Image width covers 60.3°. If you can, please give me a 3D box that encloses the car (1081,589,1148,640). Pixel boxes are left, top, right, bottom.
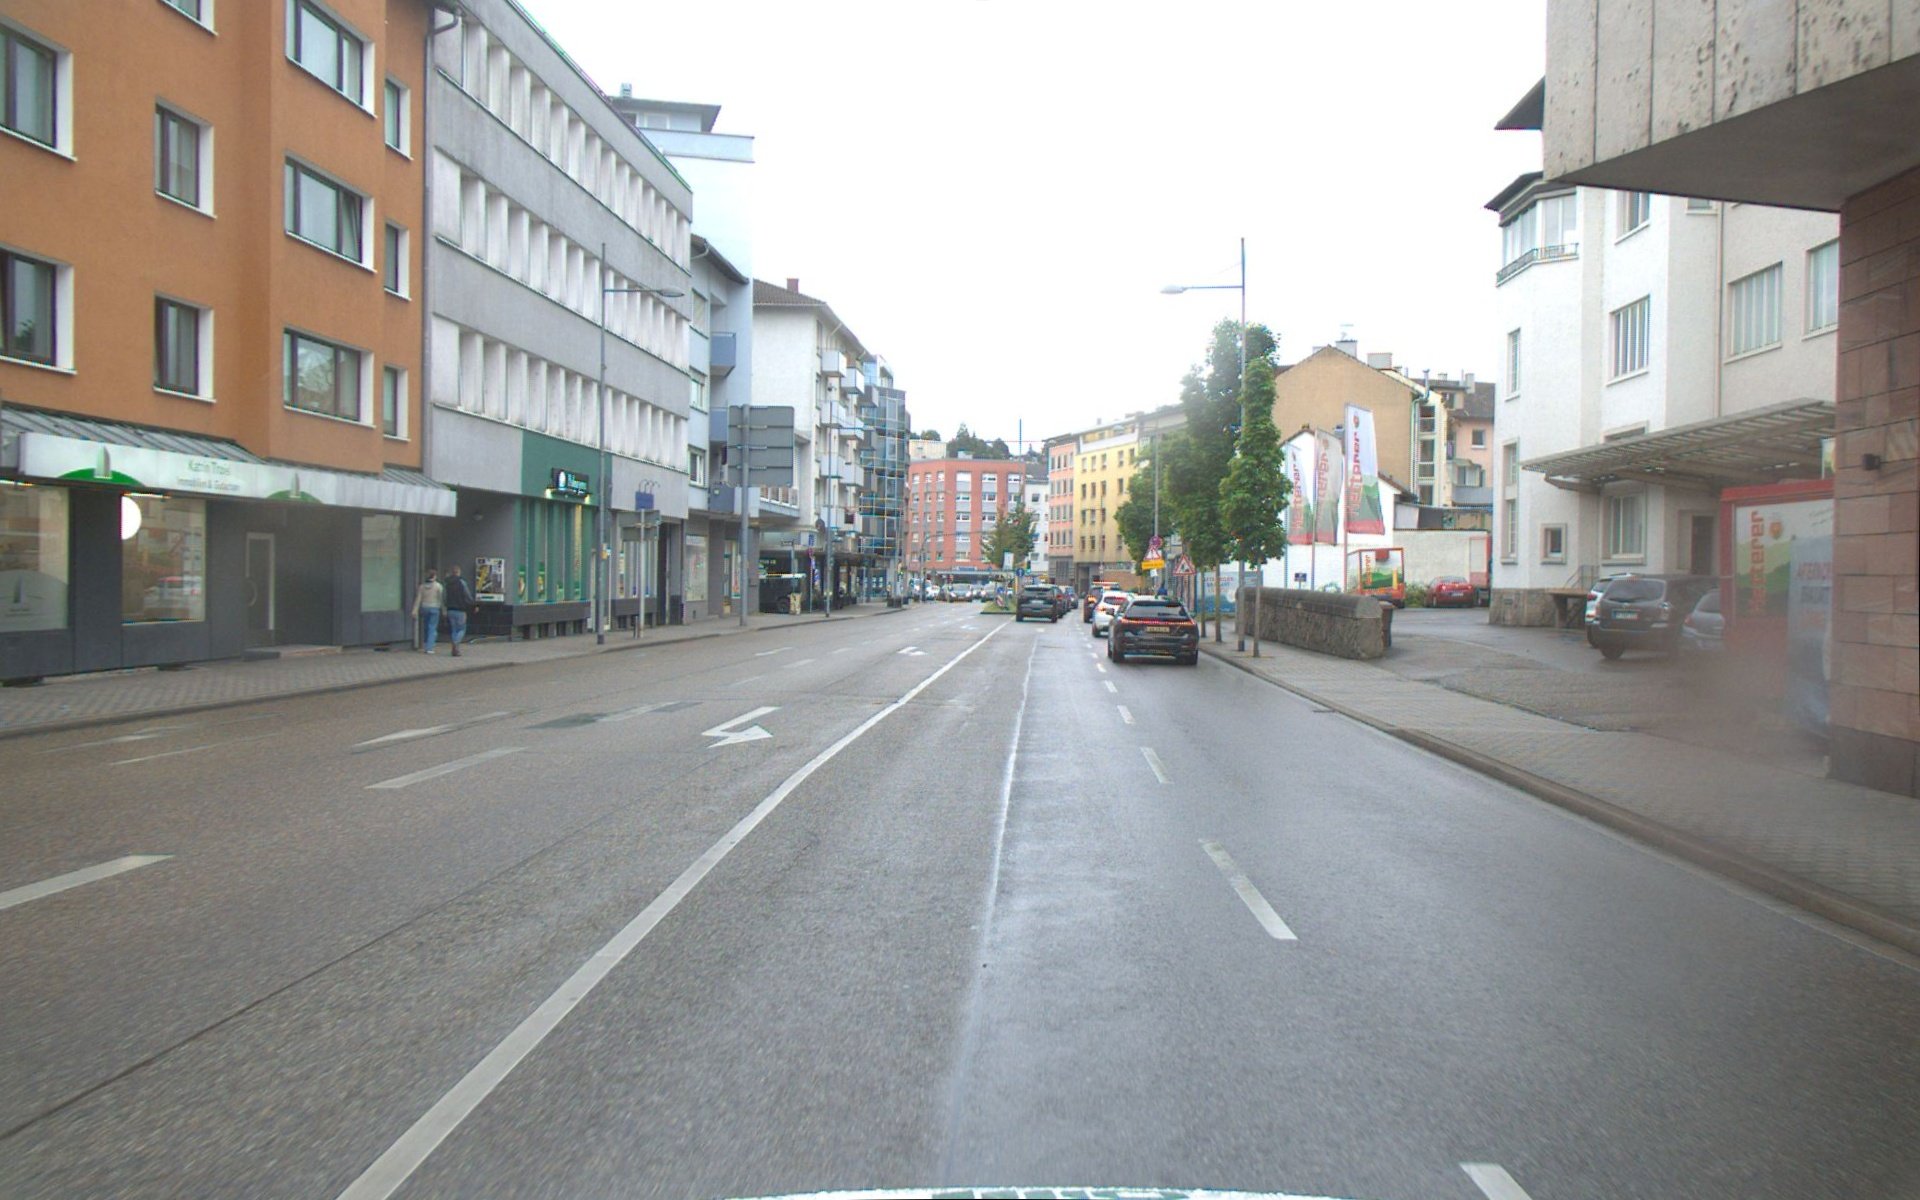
[{"bbox_3d":[5.034,0.446,54.281,1.631,1.420,3.866,4,1,-2],"label":"car"}]

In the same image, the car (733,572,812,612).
[{"bbox_3d":[-9.867,-0.431,87.231,3.880,2.070,1.581,0,0,4],"label":"car"}]

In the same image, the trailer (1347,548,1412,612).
[{"bbox_3d":[19.399,-0.945,76.754,2.082,2.763,5.395,-2,1,6],"label":"trailer"}]

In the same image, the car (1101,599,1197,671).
[{"bbox_3d":[4.138,0.722,36.850,1.752,1.427,4.635,1,1,2],"label":"car"}]

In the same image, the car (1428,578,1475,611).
[{"bbox_3d":[22.409,-0.259,75.437,1.556,1.482,3.267,-1,0,8],"label":"car"}]

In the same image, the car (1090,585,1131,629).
[{"bbox_3d":[6.980,0.305,76.795,1.792,1.836,3.721,2,2,5],"label":"car"}]

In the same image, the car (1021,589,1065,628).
[{"bbox_3d":[3.715,0.353,73.412,1.785,1.628,3.721,2,1,4],"label":"car"}]

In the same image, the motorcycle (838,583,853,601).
[{"bbox_3d":[-6.724,-0.459,97.030,0.514,1.012,2.138,2,1,5],"label":"motorcycle"}]

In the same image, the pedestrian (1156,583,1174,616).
[{"bbox_3d":[11.316,-0.028,91.279,0.774,1.786,0.872,-1,0,17],"label":"pedestrian"}]

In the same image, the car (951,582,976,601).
[{"bbox_3d":[0.299,-0.718,135.256,1.672,1.493,4.832,-2,0,4],"label":"car"}]

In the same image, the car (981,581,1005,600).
[{"bbox_3d":[2.646,-0.729,131.539,1.684,1.448,4.167,-2,0,4],"label":"car"}]

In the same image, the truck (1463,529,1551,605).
[{"bbox_3d":[24.989,-1.456,75.848,2.575,3.272,6.935,-1,0,8],"label":"truck"}]

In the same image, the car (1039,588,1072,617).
[{"bbox_3d":[4.773,0.096,83.072,1.606,1.405,3.349,-1,0,3],"label":"car"}]

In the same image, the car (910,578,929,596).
[{"bbox_3d":[-3.755,-1.194,153.193,1.520,1.598,3.344,3,0,-5],"label":"car"}]
